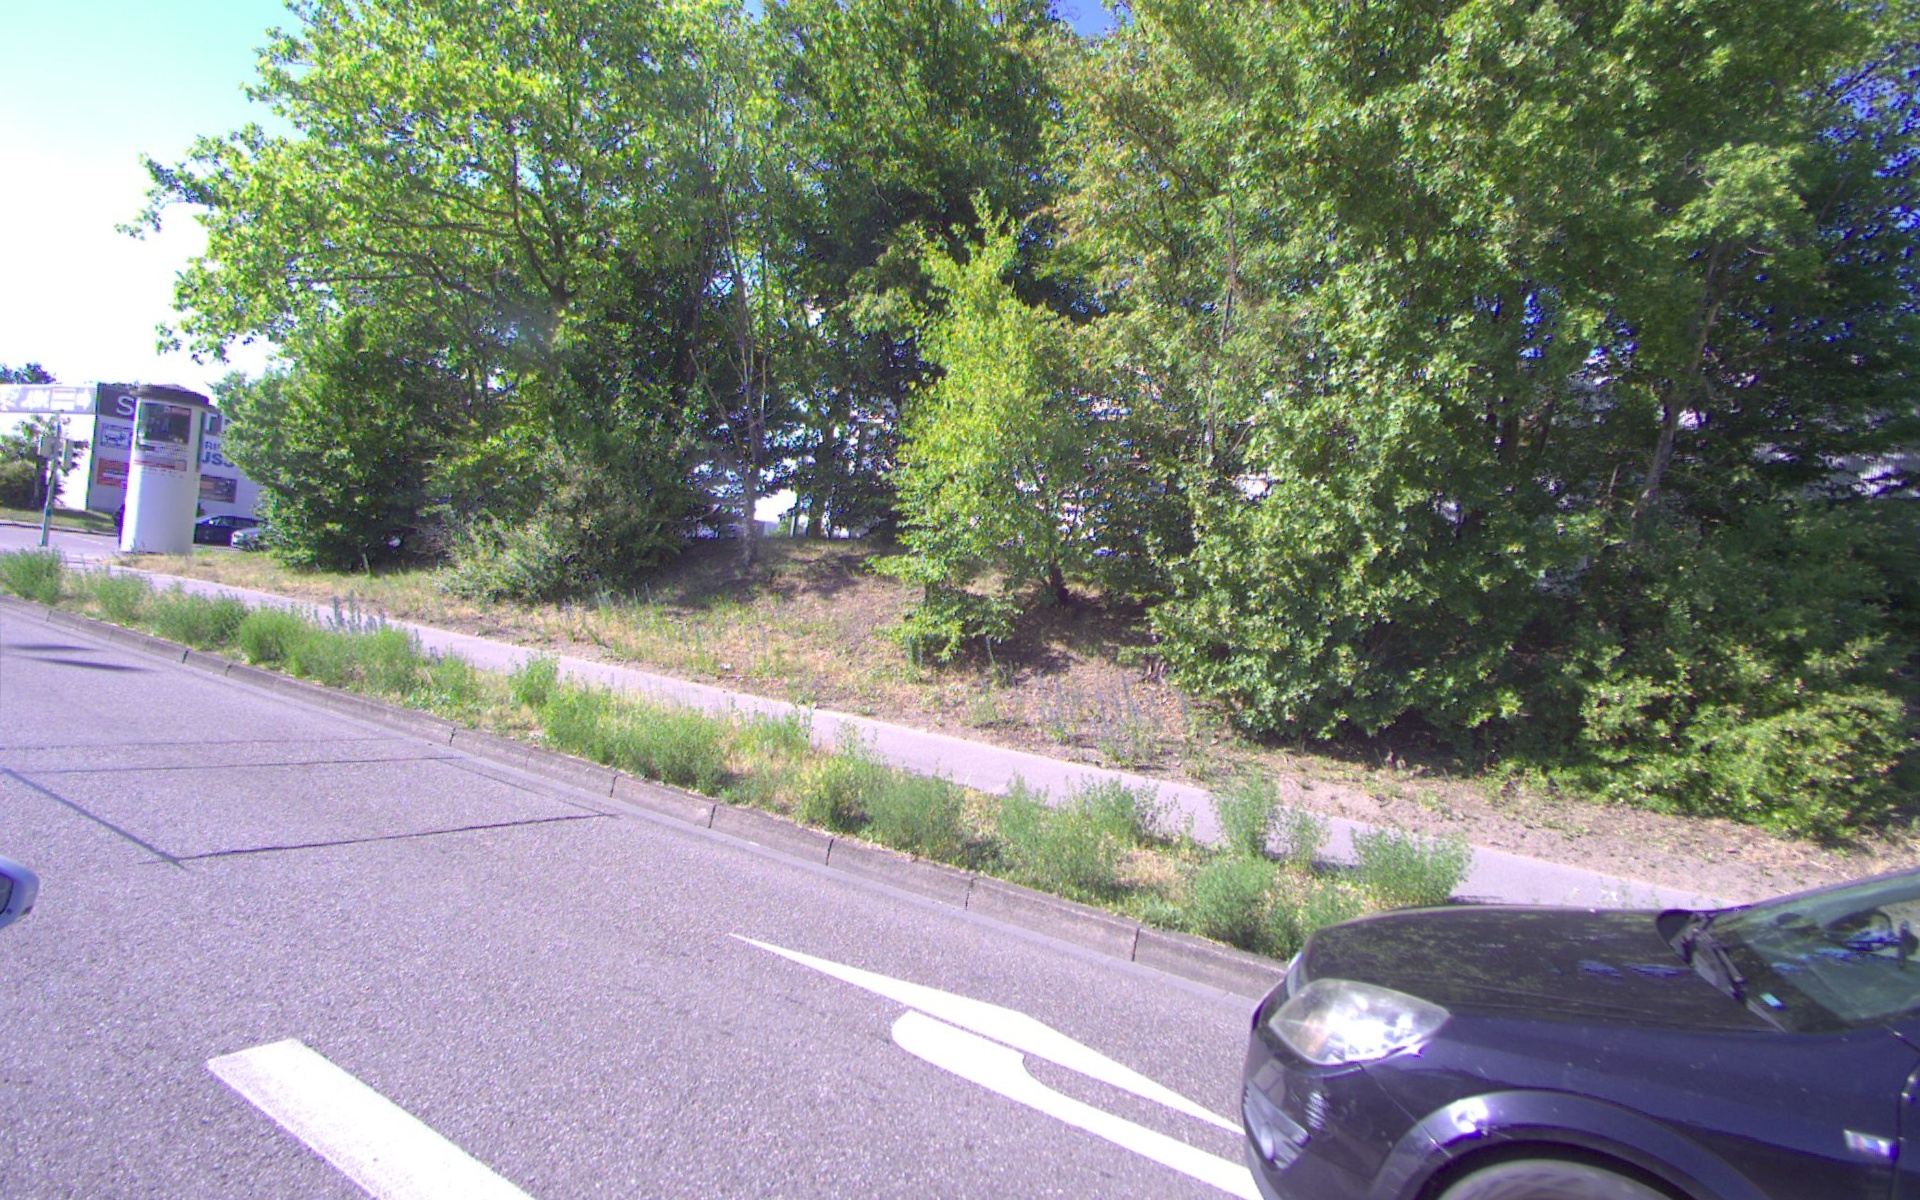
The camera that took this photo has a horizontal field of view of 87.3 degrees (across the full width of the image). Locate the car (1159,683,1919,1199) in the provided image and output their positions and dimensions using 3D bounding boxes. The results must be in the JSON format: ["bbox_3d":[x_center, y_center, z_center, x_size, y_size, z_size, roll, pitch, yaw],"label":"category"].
[{"bbox_3d":[2.797,1.221,2.024,4.299,1.458,1.737,7,-2,32],"label":"car"}]

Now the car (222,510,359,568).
[{"bbox_3d":[-27.597,-2.472,41.600,1.611,1.668,4.316,6,-2,31],"label":"car"}]

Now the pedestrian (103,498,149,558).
[{"bbox_3d":[-25.691,-2.219,30.987,0.506,1.688,0.818,6,-1,31],"label":"pedestrian"}]

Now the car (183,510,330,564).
[{"bbox_3d":[-30.335,-2.680,43.543,1.729,1.484,4.831,6,-3,30],"label":"car"}]
